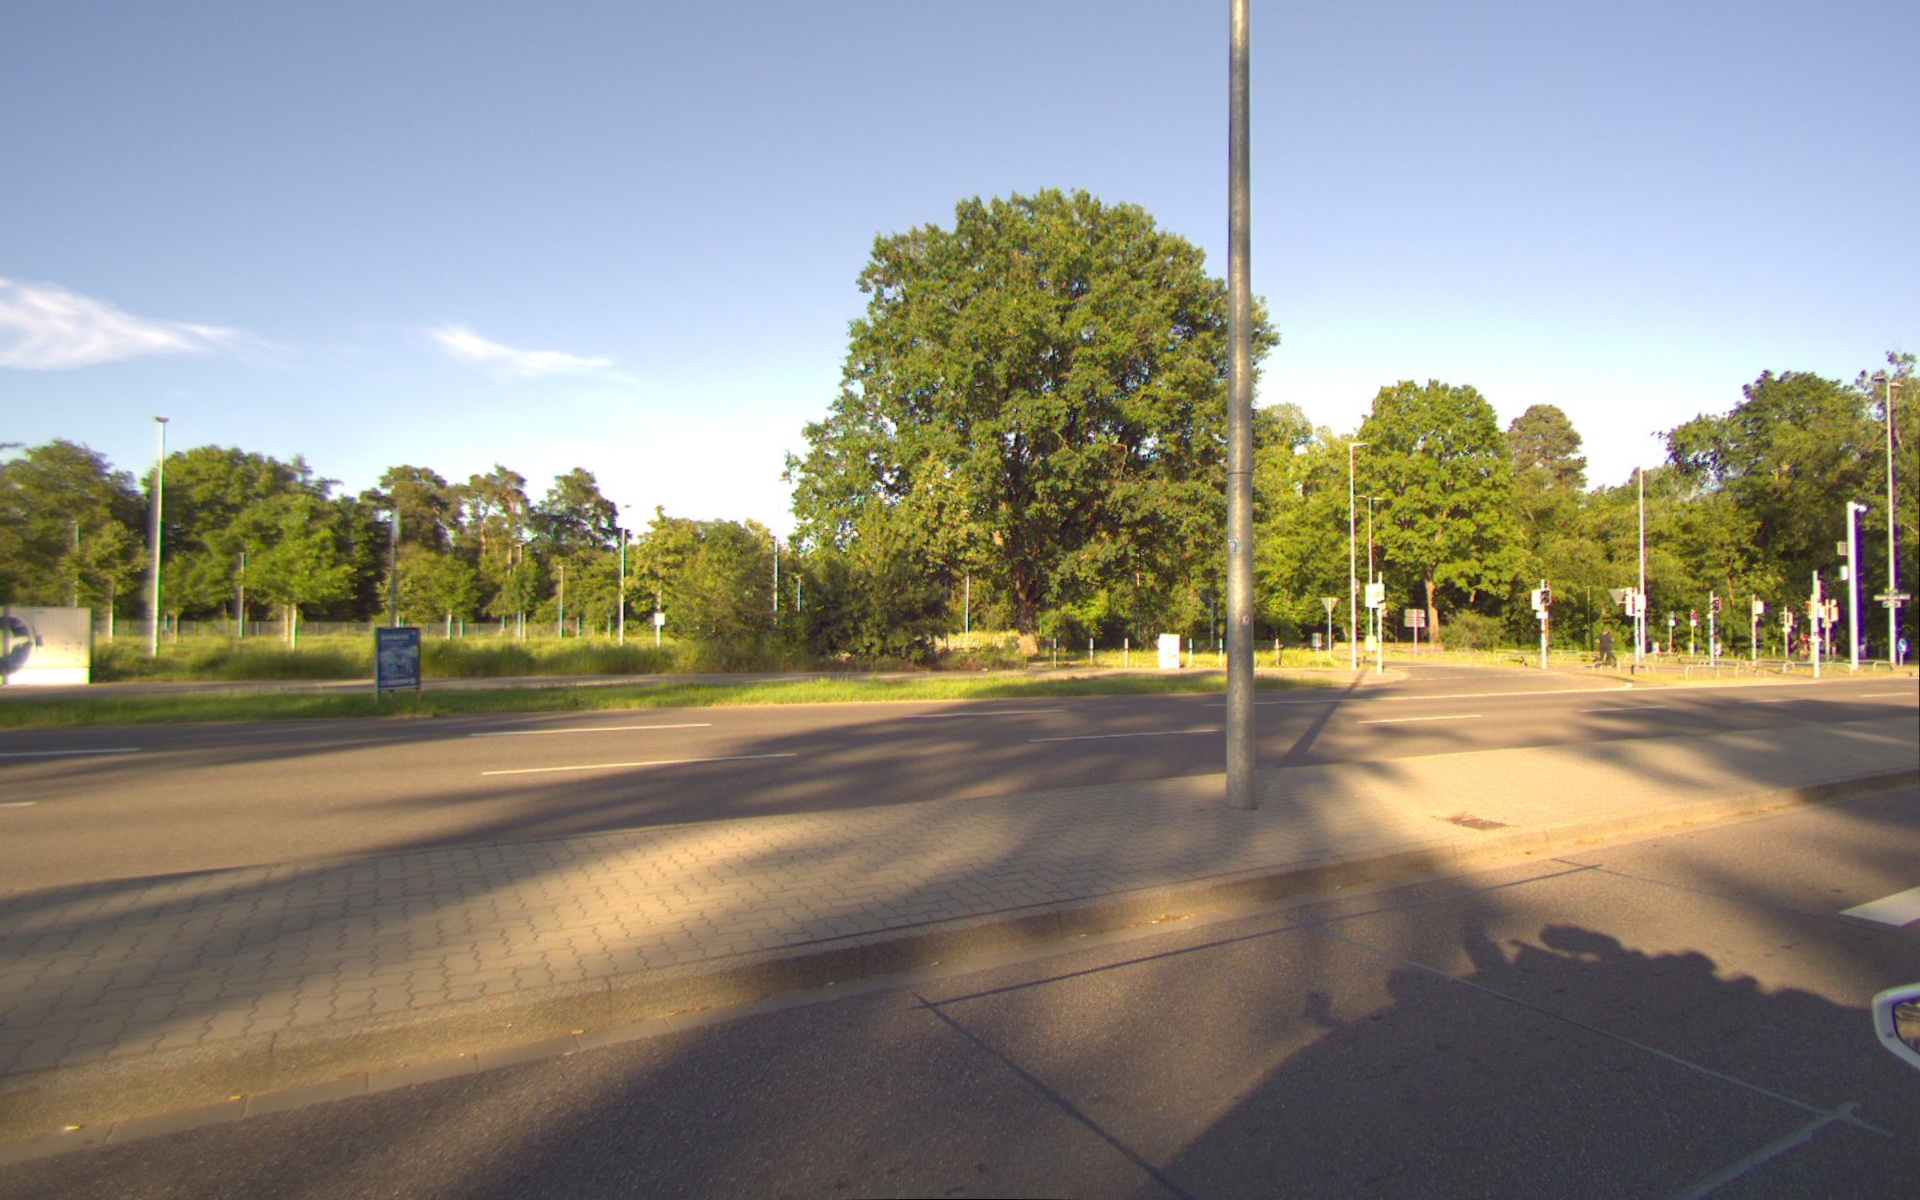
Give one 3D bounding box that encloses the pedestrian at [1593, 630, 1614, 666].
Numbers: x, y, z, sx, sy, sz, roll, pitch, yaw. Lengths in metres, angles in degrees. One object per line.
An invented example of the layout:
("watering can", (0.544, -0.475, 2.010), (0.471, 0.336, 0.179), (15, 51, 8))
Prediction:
("pedestrian", (28.160, 2.091, 43.990), (0.636, 1.580, 0.539), (0, -2, 18))
